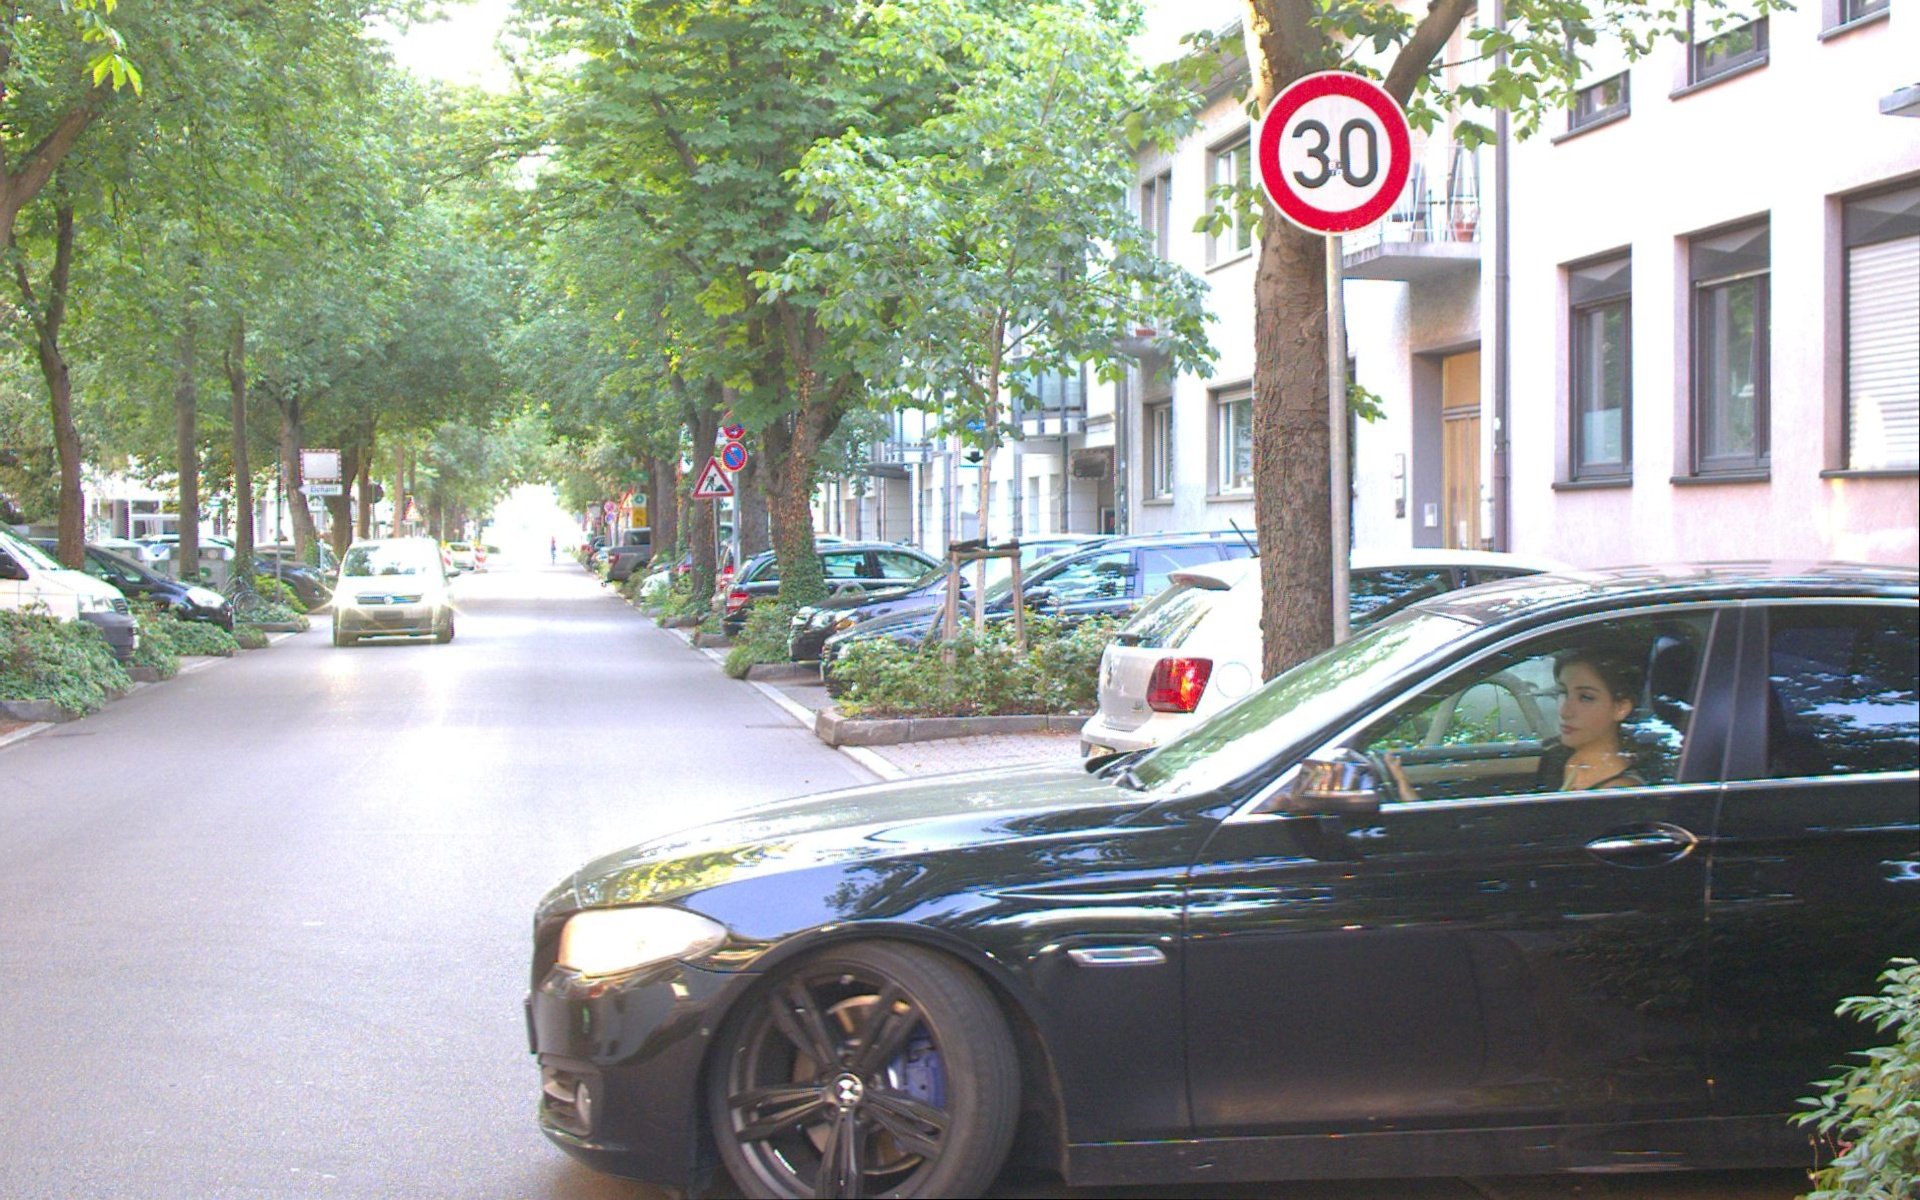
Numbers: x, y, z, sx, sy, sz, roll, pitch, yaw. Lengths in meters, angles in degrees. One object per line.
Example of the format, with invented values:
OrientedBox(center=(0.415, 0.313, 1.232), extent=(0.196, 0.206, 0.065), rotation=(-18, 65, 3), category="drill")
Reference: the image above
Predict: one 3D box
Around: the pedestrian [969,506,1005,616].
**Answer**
OrientedBox(center=(0.495, -0.724, 63.552), extent=(0.589, 2.007, 0.669), rotation=(0, 1, -5), category="pedestrian")

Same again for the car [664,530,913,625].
OrientedBox(center=(-2.856, -0.386, 56.827), extent=(3.967, 1.522, 1.785), rotation=(-1, 1, -8), category="car")

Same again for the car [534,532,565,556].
OrientedBox(center=(-25.769, -3.528, 215.904), extent=(1.822, 1.525, 4.001), rotation=(0, 1, -6), category="car")

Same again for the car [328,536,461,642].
OrientedBox(center=(-8.697, -0.201, 53.125), extent=(1.779, 1.557, 4.169), rotation=(0, 1, -6), category="car")

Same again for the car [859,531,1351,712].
OrientedBox(center=(1.210, 0.156, 29.678), extent=(3.967, 1.471, 1.785), rotation=(-1, 1, -8), category="car")

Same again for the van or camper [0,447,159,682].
OrientedBox(center=(-11.135, -0.384, 37.047), extent=(4.662, 2.470, 2.000), rotation=(0, 1, -7), category="van or camper")

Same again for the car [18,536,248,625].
OrientedBox(center=(-15.473, -0.382, 64.511), extent=(3.967, 1.614, 1.785), rotation=(0, 1, -5), category="car")

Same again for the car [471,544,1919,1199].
OrientedBox(center=(1.356, 0.616, 8.046), extent=(4.745, 1.475, 1.800), rotation=(0, 1, 0), category="car")

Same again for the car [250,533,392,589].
OrientedBox(center=(-18.969, -1.160, 102.175), extent=(3.967, 1.614, 1.785), rotation=(0, 1, -5), category="car")

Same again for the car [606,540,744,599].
OrientedBox(center=(-8.366, -0.890, 100.779), extent=(3.967, 1.678, 1.785), rotation=(0, 1, -5), category="car")

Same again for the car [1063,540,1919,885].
OrientedBox(center=(2.556, 0.471, 16.079), extent=(3.908, 1.471, 1.665), rotation=(-1, 1, -8), category="car")

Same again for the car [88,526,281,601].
OrientedBox(center=(-17.144, -0.826, 76.122), extent=(3.967, 1.614, 1.785), rotation=(0, 1, -5), category="car")

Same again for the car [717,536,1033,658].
OrientedBox(center=(-1.139, -0.055, 44.964), extent=(3.967, 1.522, 1.785), rotation=(-1, 1, -7), category="car")

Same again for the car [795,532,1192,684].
OrientedBox(center=(0.314, 0.057, 36.154), extent=(3.967, 1.522, 1.785), rotation=(-1, 1, -7), category="car")

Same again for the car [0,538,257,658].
OrientedBox(center=(-11.933, -0.039, 48.046), extent=(3.967, 1.614, 1.785), rotation=(-1, 1, -6), category="car")
